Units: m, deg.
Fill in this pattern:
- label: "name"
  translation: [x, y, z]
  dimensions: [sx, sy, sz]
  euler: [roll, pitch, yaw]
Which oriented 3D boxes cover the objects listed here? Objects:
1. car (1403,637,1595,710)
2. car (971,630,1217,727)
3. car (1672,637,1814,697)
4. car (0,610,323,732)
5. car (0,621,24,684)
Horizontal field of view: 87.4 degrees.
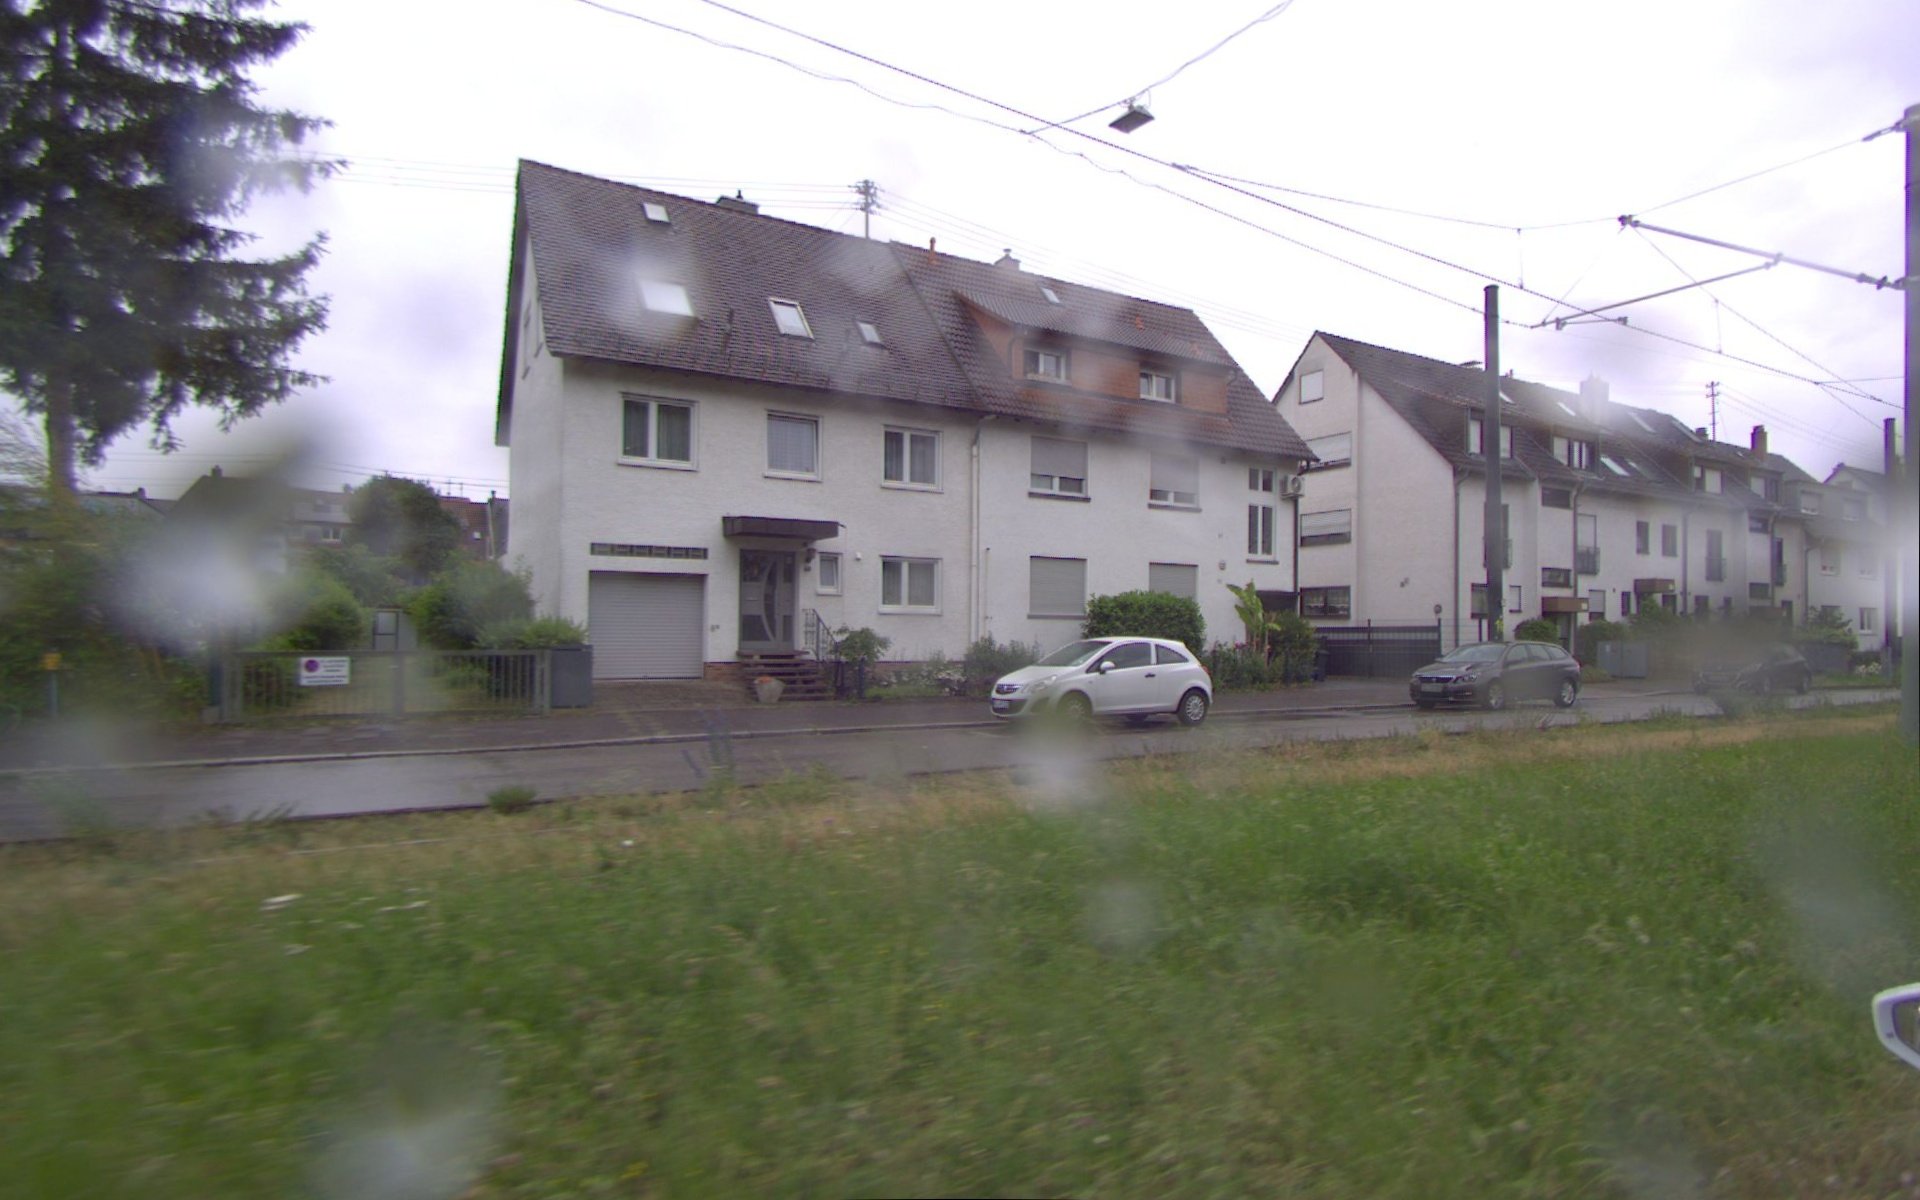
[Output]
- label: "car"
  translation: [12.034, 1.658, 22.355]
  dimensions: [4.612, 1.442, 1.593]
  euler: [4, -3, -30]
- label: "car"
  translation: [2.275, 1.308, 16.737]
  dimensions: [3.898, 1.442, 1.593]
  euler: [4, -3, -30]
- label: "car"
  translation: [22.437, 1.920, 28.756]
  dimensions: [4.086, 1.523, 1.868]
  euler: [4, -3, -31]
- label: "car"
  translation: [-12.535, 1.032, 16.037]
  dimensions: [3.849, 1.586, 1.984]
  euler: [-2, 0, -31]
- label: "car"
  translation: [-24.079, 1.243, 23.966]
  dimensions: [1.768, 1.517, 3.964]
  euler: [4, -3, -32]
